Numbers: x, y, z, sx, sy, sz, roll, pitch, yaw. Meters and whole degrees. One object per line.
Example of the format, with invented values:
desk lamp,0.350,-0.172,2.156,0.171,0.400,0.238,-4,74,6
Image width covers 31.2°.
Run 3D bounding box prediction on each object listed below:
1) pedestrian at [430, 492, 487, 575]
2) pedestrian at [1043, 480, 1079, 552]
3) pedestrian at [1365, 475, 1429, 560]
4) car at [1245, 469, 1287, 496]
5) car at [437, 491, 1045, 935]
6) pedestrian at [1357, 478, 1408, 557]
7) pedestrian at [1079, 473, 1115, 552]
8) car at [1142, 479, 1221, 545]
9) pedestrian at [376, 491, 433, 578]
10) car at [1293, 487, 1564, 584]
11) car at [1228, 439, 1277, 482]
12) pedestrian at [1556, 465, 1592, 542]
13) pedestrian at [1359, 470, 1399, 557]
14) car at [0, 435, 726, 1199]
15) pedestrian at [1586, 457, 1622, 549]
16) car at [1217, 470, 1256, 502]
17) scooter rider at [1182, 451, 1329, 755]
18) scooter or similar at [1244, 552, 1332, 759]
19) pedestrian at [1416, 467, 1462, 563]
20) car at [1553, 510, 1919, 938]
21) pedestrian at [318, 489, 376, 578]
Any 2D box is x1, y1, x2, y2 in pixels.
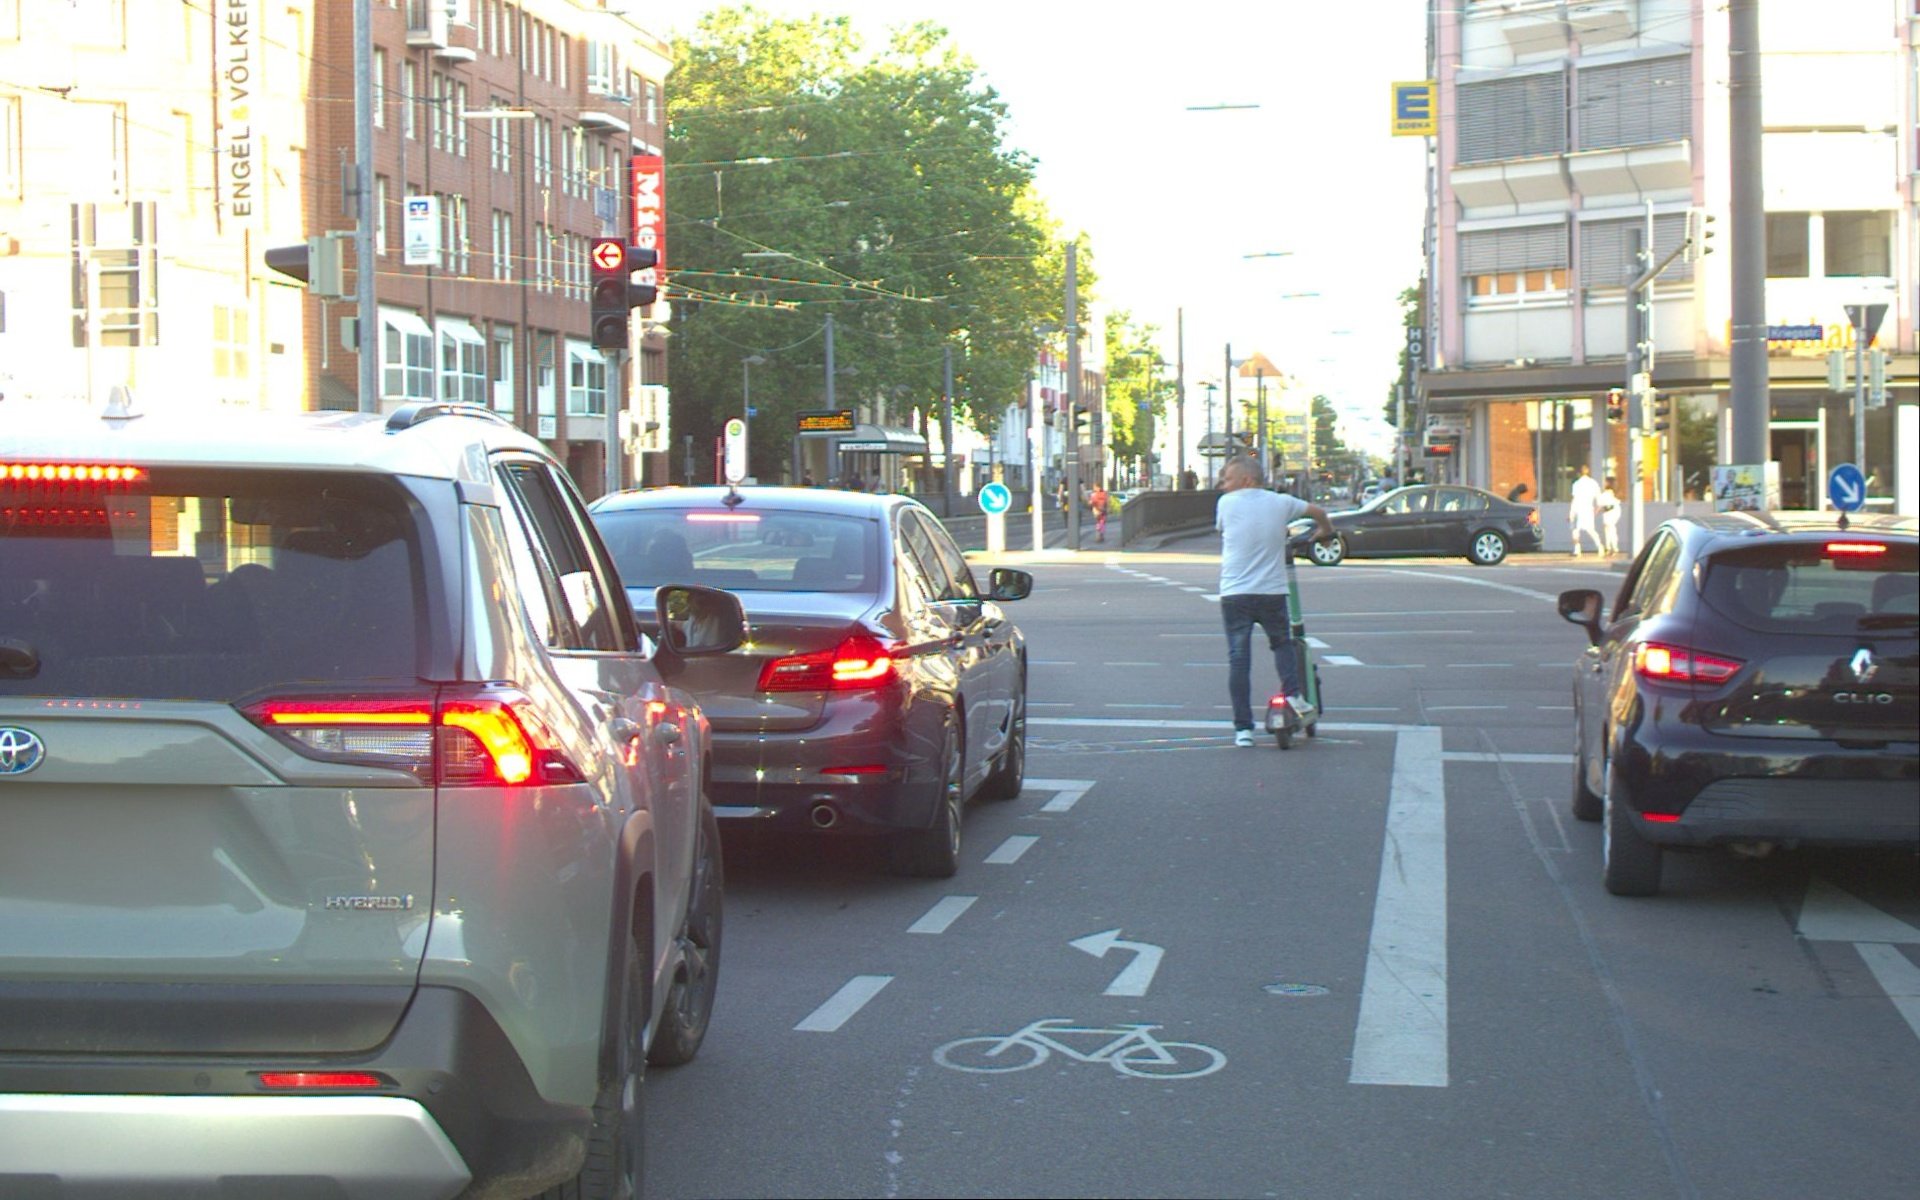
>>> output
pedestrian,-12.299,-1.631,84.317,1.093,2.006,1.163,1,2,5
pedestrian,2.351,-1.954,79.706,0.701,1.658,0.808,1,2,9
pedestrian,8.929,-1.688,70.297,0.932,1.720,0.852,0,2,-33
car,15.275,-5.862,171.531,1.994,1.305,4.000,0,2,6
car,-0.719,0.319,14.137,1.745,1.455,4.409,1,2,6
pedestrian,8.736,-1.716,71.147,0.721,1.618,0.772,-1,2,-30
pedestrian,3.178,-2.027,79.455,0.701,1.816,0.808,1,2,9
car,6.104,-2.429,94.380,1.812,1.740,3.714,1,2,9
pedestrian,-13.079,-1.555,80.924,1.093,2.006,0.908,1,2,5
car,8.106,-1.136,59.797,4.552,1.615,1.998,1,2,5
car,13.662,-6.504,160.437,1.994,1.894,3.999,1,2,8
pedestrian,11.938,-1.877,66.802,0.493,1.498,0.475,-2,2,-30
pedestrian,10.673,-2.198,87.662,0.932,2.189,0.852,1,2,5
car,-1.502,0.483,7.154,1.835,1.630,4.091,1,3,-2
pedestrian,12.534,-1.887,66.900,0.493,1.768,0.475,-2,2,-30
car,16.492,-6.785,204.742,1.994,1.853,3.999,0,2,10
scooter rider,1.646,0.007,19.091,0.662,1.641,0.661,2,2,16
scooter or similar,1.815,0.287,18.963,0.279,1.087,1.256,2,2,14
pedestrian,12.005,-2.137,86.155,1.085,2.357,1.055,1,2,8
car,3.381,0.383,13.877,1.765,1.435,3.999,1,2,8
pedestrian,-14.162,-1.537,79.402,1.093,2.006,0.908,1,2,5
